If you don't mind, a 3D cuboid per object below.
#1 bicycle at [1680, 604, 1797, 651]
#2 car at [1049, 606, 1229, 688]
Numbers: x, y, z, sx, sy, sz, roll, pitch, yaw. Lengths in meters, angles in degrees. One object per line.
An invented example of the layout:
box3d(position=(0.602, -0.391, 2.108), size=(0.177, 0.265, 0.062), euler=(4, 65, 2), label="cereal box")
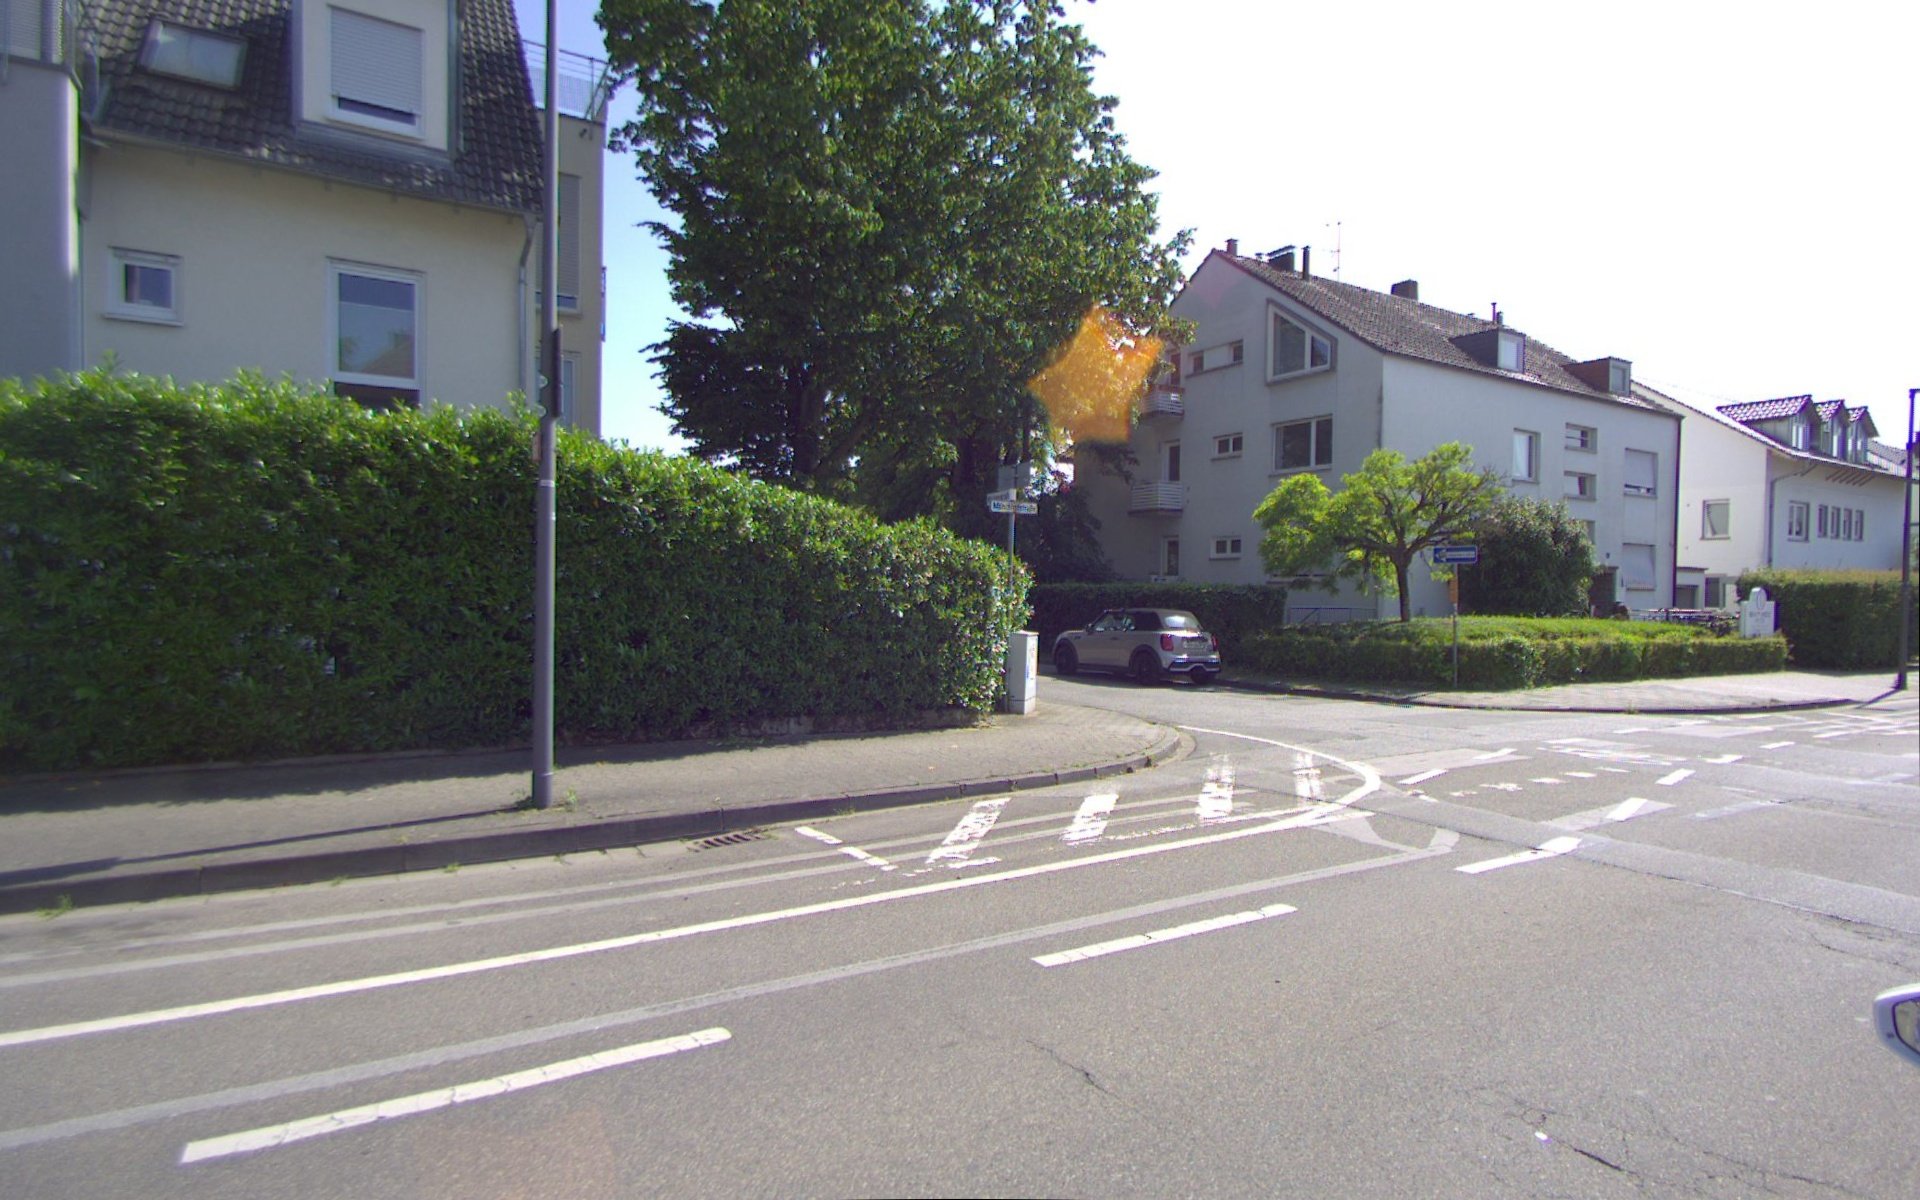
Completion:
box3d(position=(20.985, 0.726, 27.150), size=(2.394, 1.122, 0.536), euler=(1, 6, 28), label="bicycle")
box3d(position=(3.504, 0.880, 20.222), size=(1.707, 1.431, 3.474), euler=(1, 0, -31), label="car")
